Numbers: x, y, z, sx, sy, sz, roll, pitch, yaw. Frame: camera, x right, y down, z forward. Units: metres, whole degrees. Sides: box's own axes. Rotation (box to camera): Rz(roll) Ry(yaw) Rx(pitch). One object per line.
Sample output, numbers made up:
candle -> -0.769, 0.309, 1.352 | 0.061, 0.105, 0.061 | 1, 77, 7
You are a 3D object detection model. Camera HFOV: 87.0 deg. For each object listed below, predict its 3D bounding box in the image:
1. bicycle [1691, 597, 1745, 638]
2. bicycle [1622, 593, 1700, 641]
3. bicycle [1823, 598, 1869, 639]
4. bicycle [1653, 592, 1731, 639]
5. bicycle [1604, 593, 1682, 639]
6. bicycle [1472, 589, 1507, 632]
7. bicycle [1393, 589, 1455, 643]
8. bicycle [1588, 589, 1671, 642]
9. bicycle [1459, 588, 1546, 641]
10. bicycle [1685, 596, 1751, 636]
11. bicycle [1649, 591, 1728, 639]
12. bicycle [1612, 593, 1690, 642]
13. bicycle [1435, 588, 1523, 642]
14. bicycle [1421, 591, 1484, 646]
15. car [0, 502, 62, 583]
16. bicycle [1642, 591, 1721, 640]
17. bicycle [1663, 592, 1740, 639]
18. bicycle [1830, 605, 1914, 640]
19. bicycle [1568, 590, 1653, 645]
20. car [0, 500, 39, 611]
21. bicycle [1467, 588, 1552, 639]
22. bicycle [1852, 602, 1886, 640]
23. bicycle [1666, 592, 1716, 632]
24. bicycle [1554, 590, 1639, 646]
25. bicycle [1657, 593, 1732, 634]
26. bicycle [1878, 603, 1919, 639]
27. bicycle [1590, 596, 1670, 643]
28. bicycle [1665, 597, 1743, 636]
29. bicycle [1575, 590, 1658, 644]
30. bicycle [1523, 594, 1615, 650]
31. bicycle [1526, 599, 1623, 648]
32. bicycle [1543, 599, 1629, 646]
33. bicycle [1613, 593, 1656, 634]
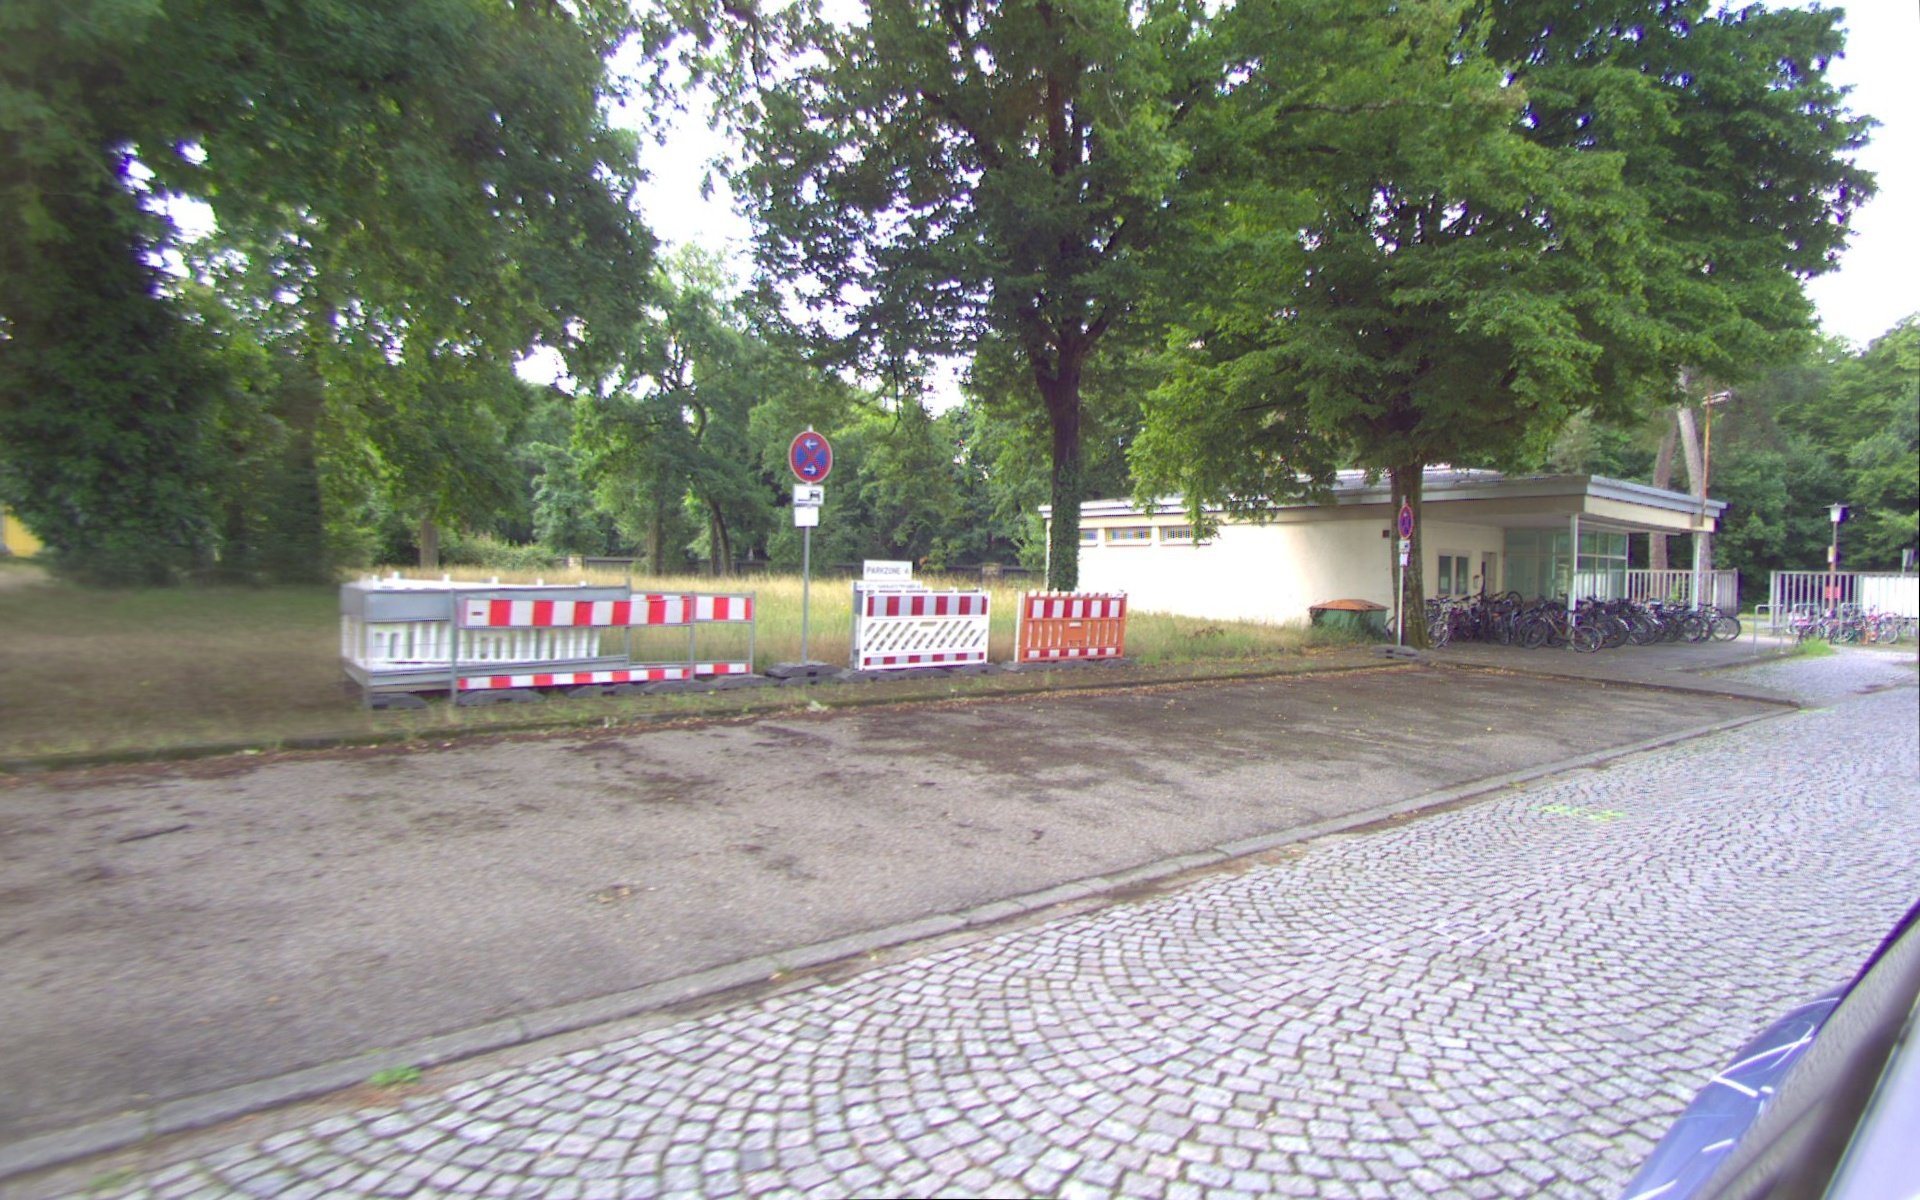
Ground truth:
bicycle -> 20.746, 0.473, 27.706 | 1.144, 1.076, 0.284 | 1, 1, 30
bicycle -> 18.399, 0.425, 26.591 | 1.613, 1.155, 0.320 | 4, 3, 44
bicycle -> 24.606, 0.505, 28.093 | 1.537, 1.075, 0.692 | 0, 1, -39
bicycle -> 19.606, 0.405, 27.130 | 1.613, 1.155, 0.350 | 4, 3, 44
bicycle -> 17.506, 0.405, 25.953 | 1.592, 1.063, 0.320 | 4, 3, 44
bicycle -> 14.180, 0.270, 27.097 | 0.478, 1.089, 1.657 | 4, 3, 39
bicycle -> 10.278, 0.336, 22.409 | 1.606, 1.130, 0.598 | 0, 3, -41
bicycle -> 16.614, 0.373, 25.143 | 1.627, 1.204, 0.492 | 4, 3, 39
bicycle -> 13.335, 0.335, 24.929 | 0.598, 1.179, 1.743 | 0, 3, -43
bicycle -> 20.994, 0.438, 28.037 | 1.391, 1.059, 0.336 | 1, 1, 25
bicycle -> 19.279, 0.393, 26.807 | 1.613, 1.155, 0.320 | 4, 3, 44
bicycle -> 17.871, 0.429, 26.195 | 1.592, 1.155, 0.320 | 4, 3, 44
bicycle -> 12.477, 0.340, 24.385 | 0.598, 1.179, 1.743 | 0, 3, -43
bicycle -> 10.694, 0.388, 21.938 | 1.606, 1.130, 0.598 | 0, 3, -41
car -> -27.673, -1.571, 29.245 | 2.172, 2.122, 6.157 | 0, 0, -38
bicycle -> 18.954, 0.396, 26.607 | 1.613, 1.155, 0.320 | 4, 3, 44
bicycle -> 20.181, 0.414, 27.552 | 1.613, 1.155, 0.350 | 4, 3, 44
bicycle -> 28.064, 0.666, 31.162 | 0.495, 0.951, 1.864 | 0, 3, -44
bicycle -> 15.595, 0.398, 24.291 | 1.627, 1.204, 0.414 | 4, 3, 39
car -> -24.279, -1.018, 21.814 | 1.976, 2.610, 6.379 | 0, 0, 21
bicycle -> 13.913, 0.327, 25.651 | 0.598, 1.179, 1.743 | 0, 3, -43
bicycle -> 26.497, 0.607, 29.484 | 1.701, 1.070, 0.474 | 0, 1, -39
bicycle -> 22.173, 0.350, 30.682 | 1.648, 1.153, 0.649 | 0, 1, -33
bicycle -> 15.083, 0.406, 24.013 | 1.627, 1.204, 0.467 | 4, 3, 38
bicycle -> 21.172, 0.379, 29.194 | 1.711, 1.146, 0.473 | 1, 1, 7
bicycle -> 29.224, 0.665, 30.879 | 0.380, 1.046, 1.731 | 1, 2, -38
bicycle -> 16.908, 0.477, 25.564 | 1.626, 1.063, 0.330 | 4, 3, 37
bicycle -> 21.038, 0.455, 28.634 | 1.723, 1.059, 0.453 | 1, 1, 12
bicycle -> 16.023, 0.394, 24.717 | 1.627, 1.204, 0.414 | 4, 3, 39
bicycle -> 13.479, 0.467, 22.428 | 1.673, 1.122, 0.334 | 4, 3, 38
bicycle -> 14.024, 0.514, 23.146 | 1.725, 0.988, 0.754 | 3, 2, 21
bicycle -> 14.585, 0.515, 23.604 | 1.615, 0.988, 0.320 | 3, 2, 21
bicycle -> 18.981, 0.370, 28.470 | 1.800, 1.089, 0.491 | 0, 3, -41
